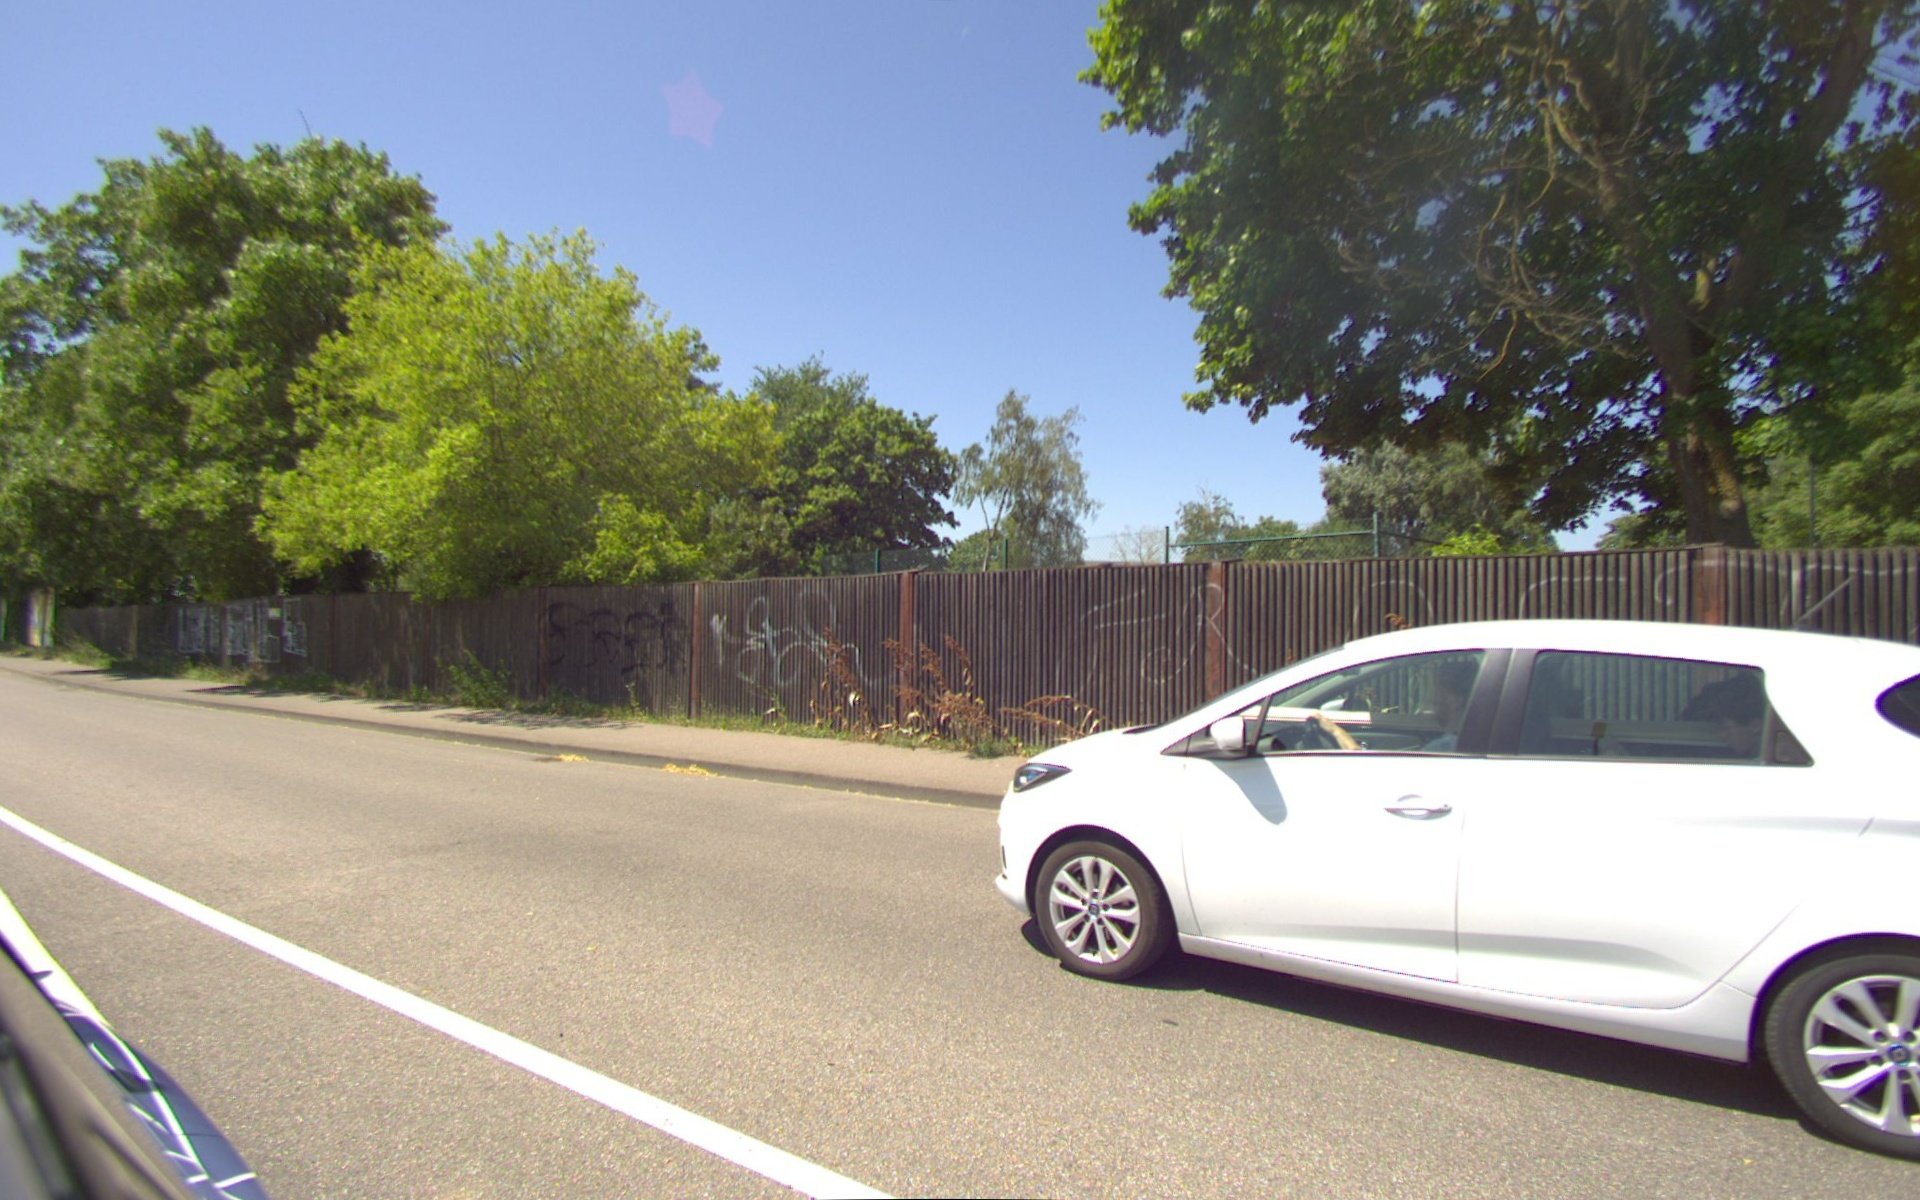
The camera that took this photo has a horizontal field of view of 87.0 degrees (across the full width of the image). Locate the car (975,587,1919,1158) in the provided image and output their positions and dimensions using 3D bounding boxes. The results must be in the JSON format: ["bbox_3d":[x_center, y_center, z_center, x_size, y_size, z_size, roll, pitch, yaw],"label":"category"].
[{"bbox_3d":[2.140,0.774,4.151,3.864,1.539,1.760,-1,-2,36],"label":"car"}]
